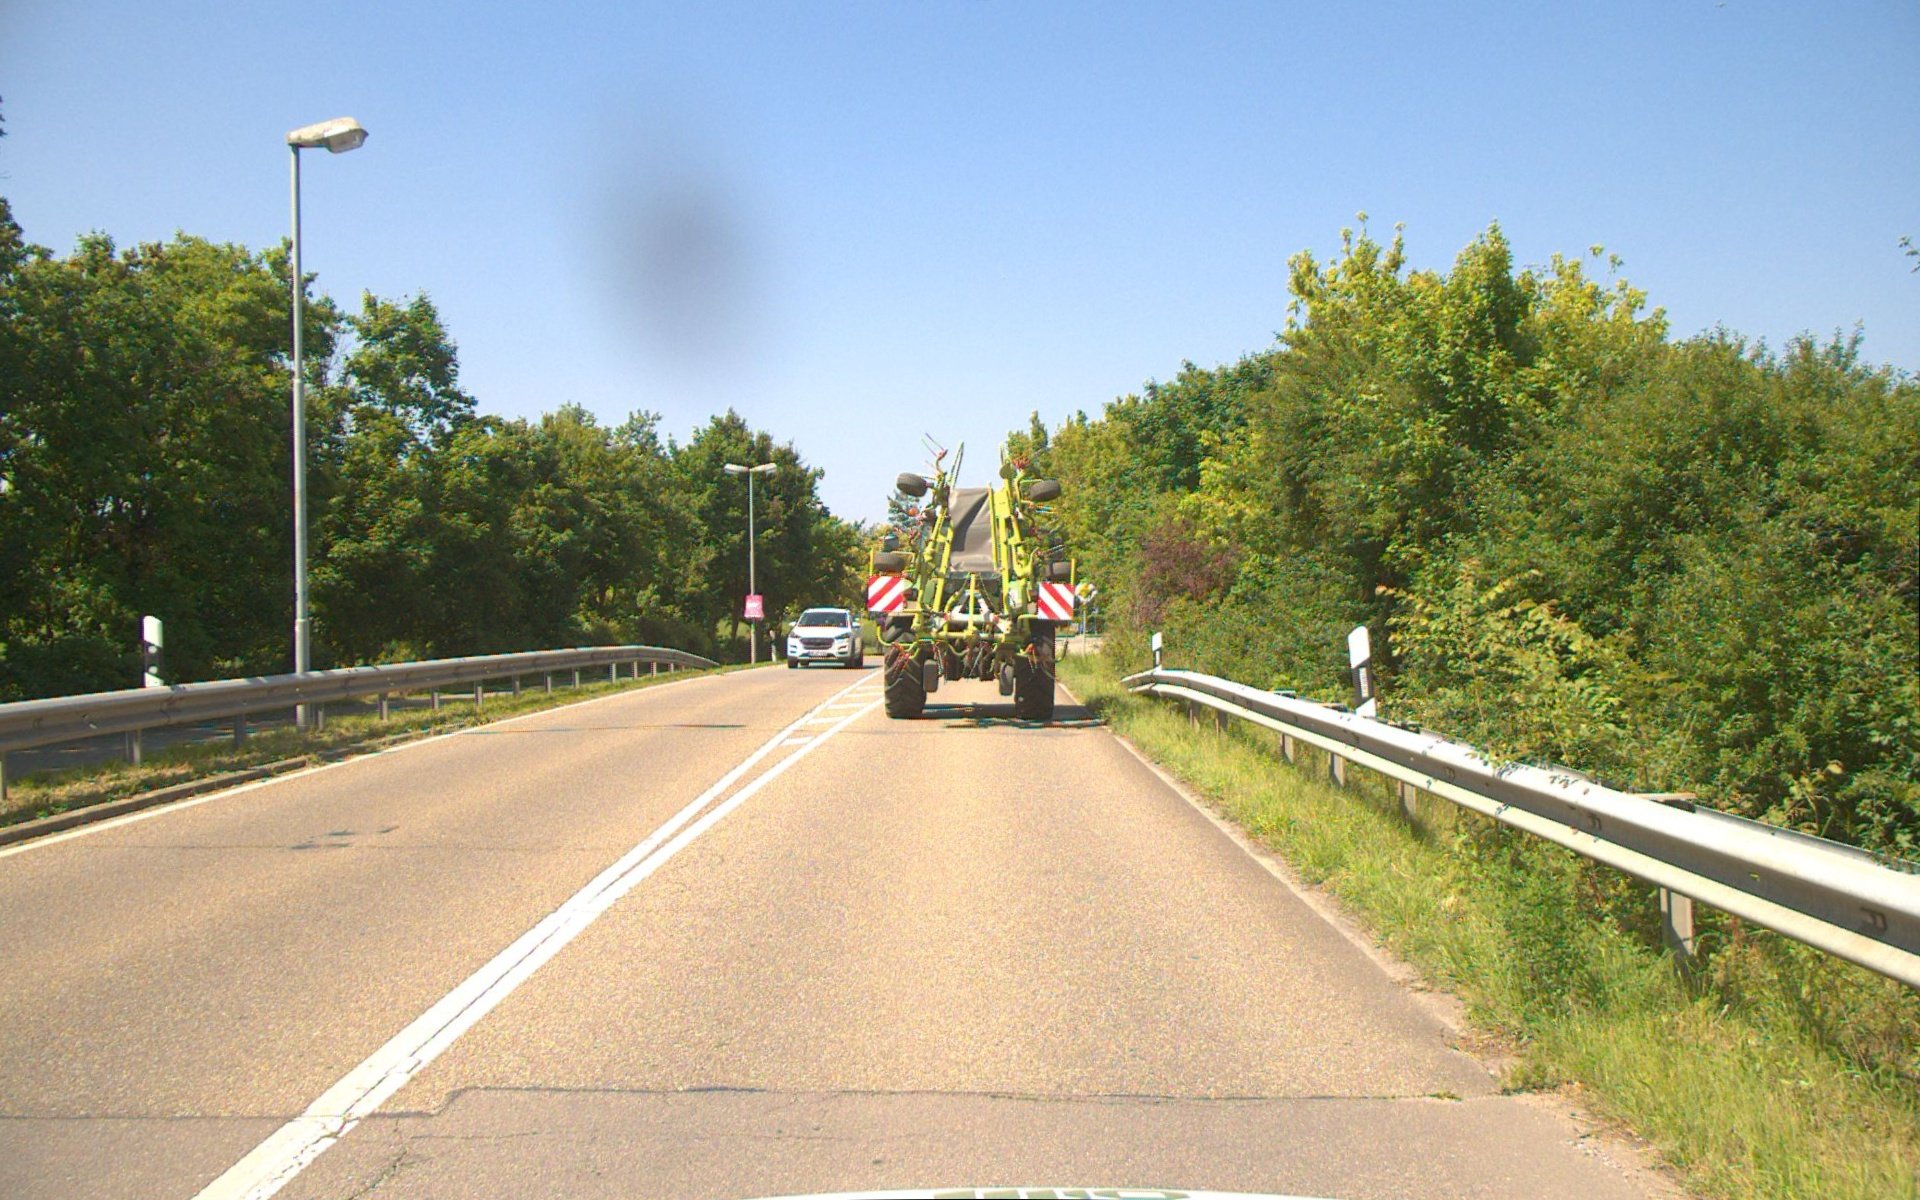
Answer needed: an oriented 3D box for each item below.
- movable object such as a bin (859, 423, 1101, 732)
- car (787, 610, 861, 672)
[{"bbox_3d":[0.169,-0.216,24.357,2.795,3.604,9.698,1,-1,-1],"label":"movable object such as a bin"},{"bbox_3d":[-3.829,1.142,47.118,1.787,1.668,4.140,1,-1,0],"label":"car"}]
